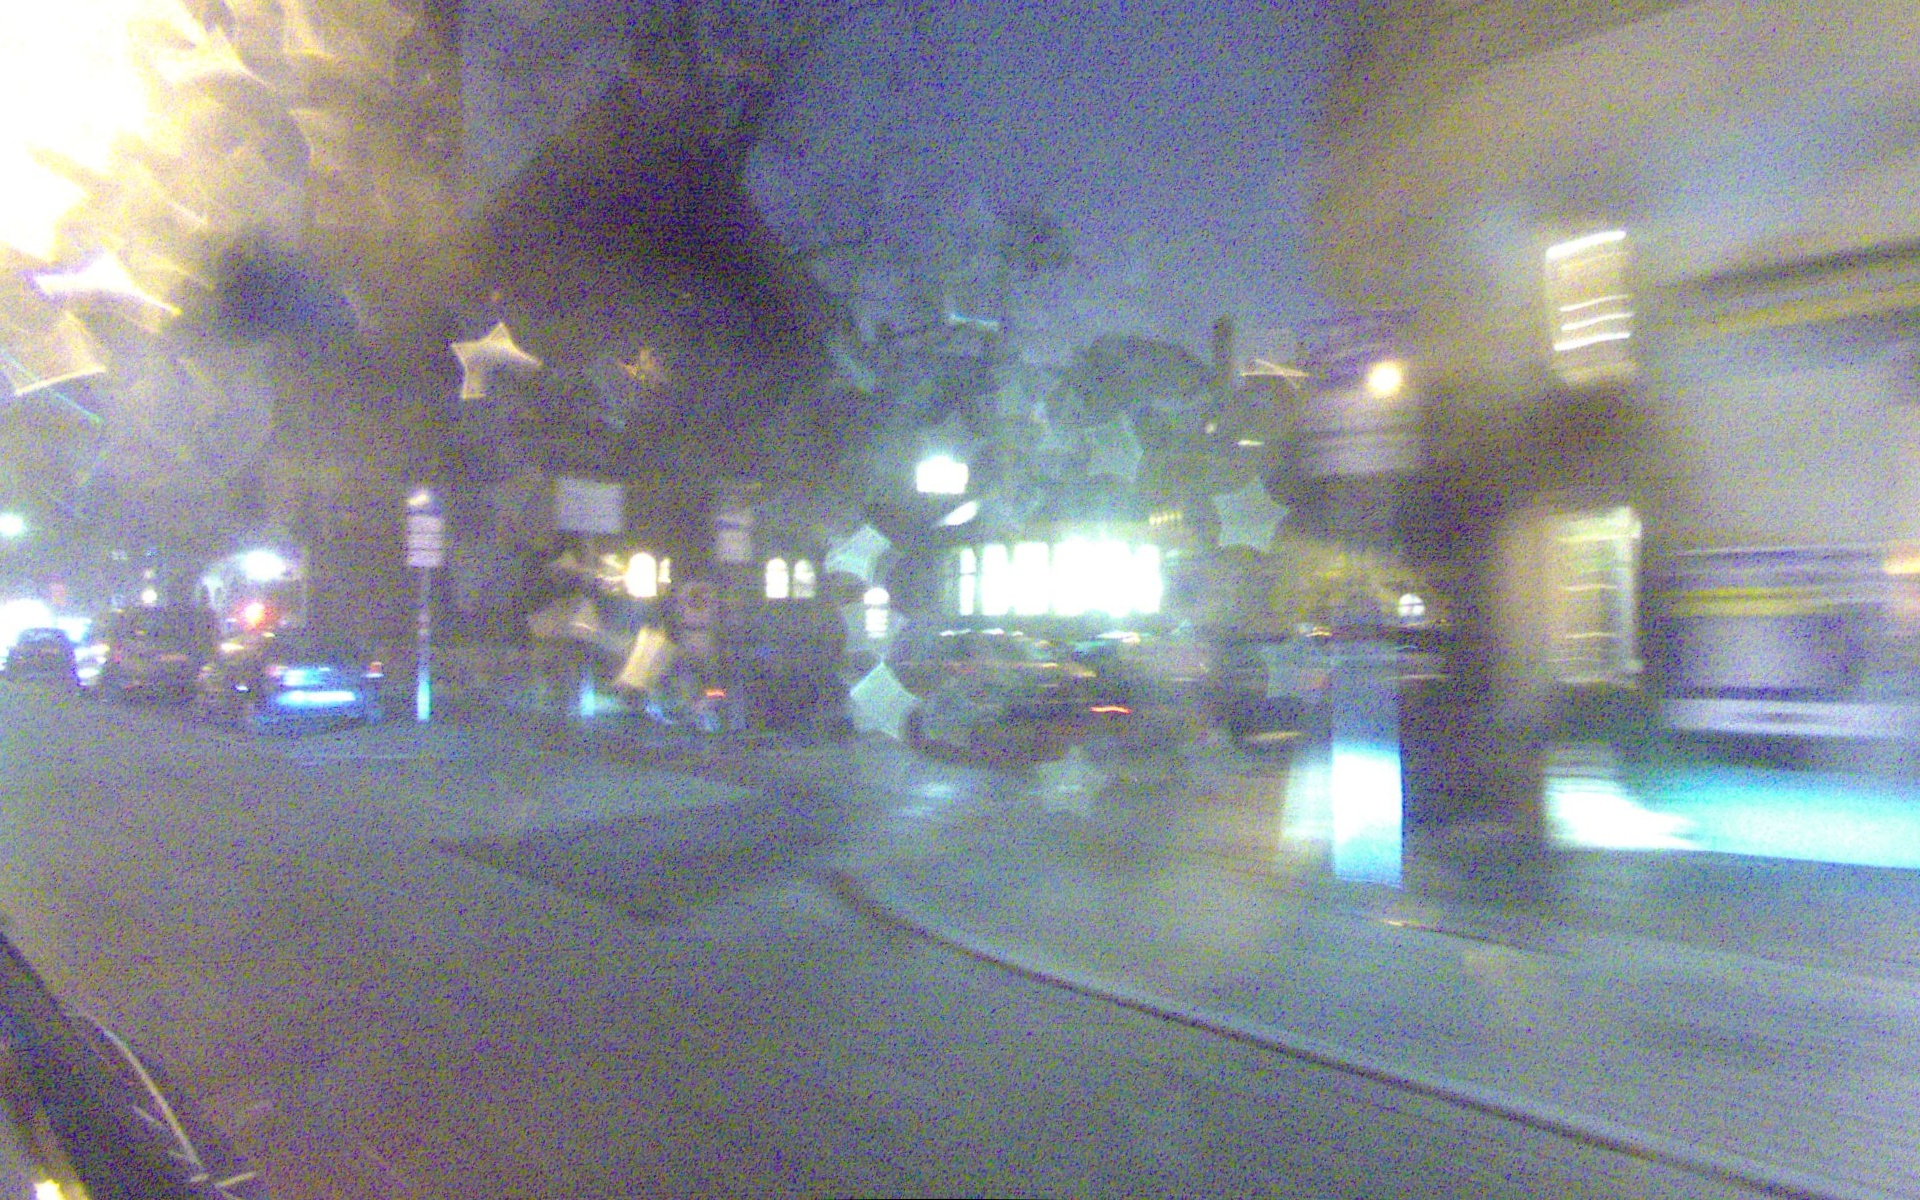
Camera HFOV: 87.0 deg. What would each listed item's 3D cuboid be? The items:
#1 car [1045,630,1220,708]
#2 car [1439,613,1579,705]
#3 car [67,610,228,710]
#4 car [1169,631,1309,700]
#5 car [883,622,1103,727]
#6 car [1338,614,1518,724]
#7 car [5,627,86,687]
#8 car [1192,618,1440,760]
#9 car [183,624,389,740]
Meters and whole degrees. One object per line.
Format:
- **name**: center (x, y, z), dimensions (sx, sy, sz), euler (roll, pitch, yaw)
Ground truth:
- **car**: center (3.668, 1.396, 21.138), dimensions (1.853, 1.460, 3.946), euler (-3, -4, 40)
- **car**: center (12.114, 1.248, 22.234), dimensions (1.885, 1.826, 3.945), euler (-2, -3, 41)
- **car**: center (-17.011, 1.190, 21.096), dimensions (4.826, 1.860, 1.846), euler (-2, -3, 42)
- **car**: center (7.007, 1.557, 25.172), dimensions (1.853, 1.460, 3.946), euler (-2, -1, 40)
- **car**: center (0.662, 1.191, 17.365), dimensions (1.716, 1.583, 3.892), euler (-2, -2, 41)
- **car**: center (8.443, 1.132, 18.096), dimensions (1.885, 1.693, 3.946), euler (-2, -1, 41)
- **car**: center (-28.592, 1.729, 31.612), dimensions (1.790, 1.683, 4.415), euler (0, -2, -43)
- **car**: center (4.834, 1.044, 13.432), dimensions (1.790, 1.550, 3.946), euler (-2, -1, 41)
- **car**: center (-9.973, 1.125, 14.883), dimensions (3.559, 1.453, 1.531), euler (-2, 0, 39)
